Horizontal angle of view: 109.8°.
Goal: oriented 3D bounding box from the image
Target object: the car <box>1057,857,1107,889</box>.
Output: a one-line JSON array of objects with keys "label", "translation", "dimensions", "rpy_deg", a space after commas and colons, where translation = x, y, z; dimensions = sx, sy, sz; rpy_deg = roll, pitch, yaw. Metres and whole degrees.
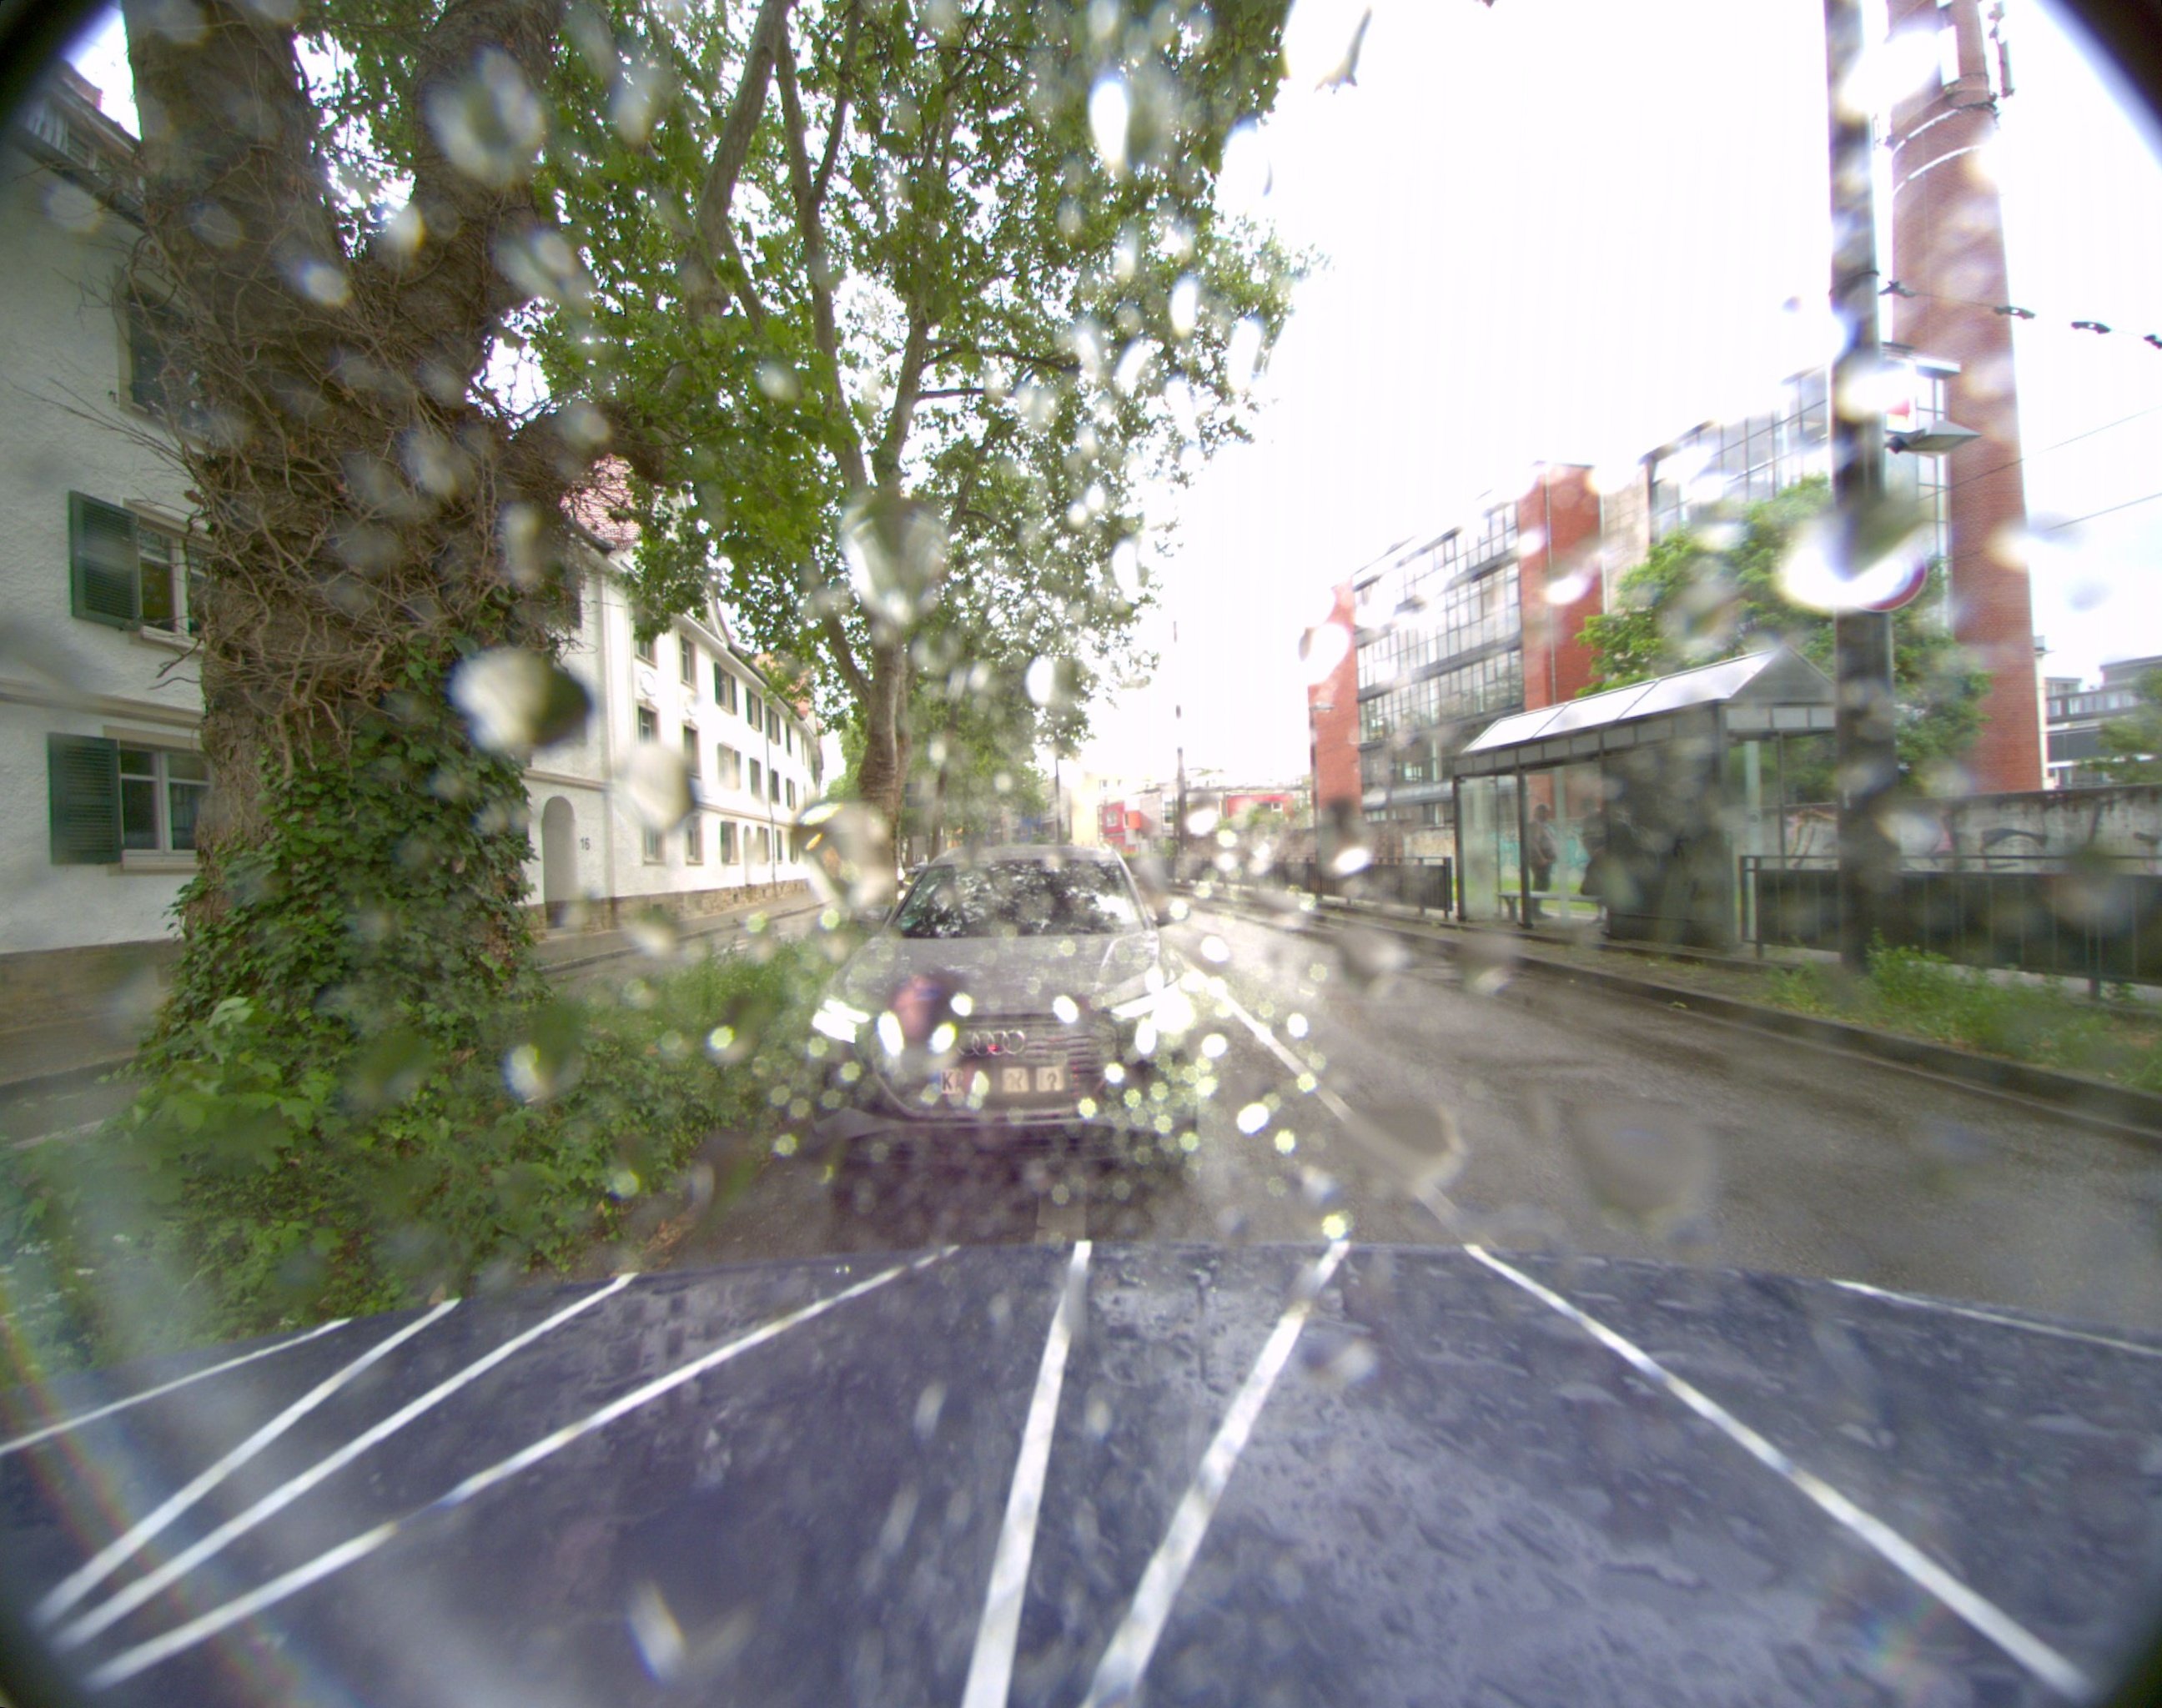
[{"label": "car", "translation": [-0.021, 0.914, 38.297], "dimensions": [1.720, 1.451, 3.743], "rpy_deg": [-2, 1, -12]}]

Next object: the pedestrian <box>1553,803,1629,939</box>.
[{"label": "pedestrian", "translation": [6.737, 0.219, 10.058], "dimensions": [0.629, 1.738, 0.564], "rpy_deg": [-2, 1, 9]}]

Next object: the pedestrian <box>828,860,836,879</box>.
[{"label": "pedestrian", "translation": [-24.277, 1.540, 74.181], "dimensions": [0.674, 1.811, 0.678], "rpy_deg": [-3, 1, -18]}]

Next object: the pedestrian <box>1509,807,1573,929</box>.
[{"label": "pedestrian", "translation": [6.797, 0.204, 11.247], "dimensions": [0.629, 1.738, 0.514], "rpy_deg": [-2, 1, 9]}]

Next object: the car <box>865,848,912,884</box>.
[{"label": "car", "translation": [-13.337, 0.796, 52.368], "dimensions": [2.199, 2.250, 5.401], "rpy_deg": [-3, 0, -24]}]

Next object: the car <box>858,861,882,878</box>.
[{"label": "car", "translation": [-20.069, 1.459, 72.101], "dimensions": [1.834, 1.517, 3.993], "rpy_deg": [-2, 1, -19]}]

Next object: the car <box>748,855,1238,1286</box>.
[{"label": "car", "translation": [-0.409, 0.874, 5.133], "dimensions": [1.917, 1.632, 4.106], "rpy_deg": [-2, 0, -2]}]

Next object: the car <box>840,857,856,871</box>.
[{"label": "car", "translation": [-36.253, 1.538, 118.238], "dimensions": [2.002, 2.001, 3.993], "rpy_deg": [3, -1, -20]}]
